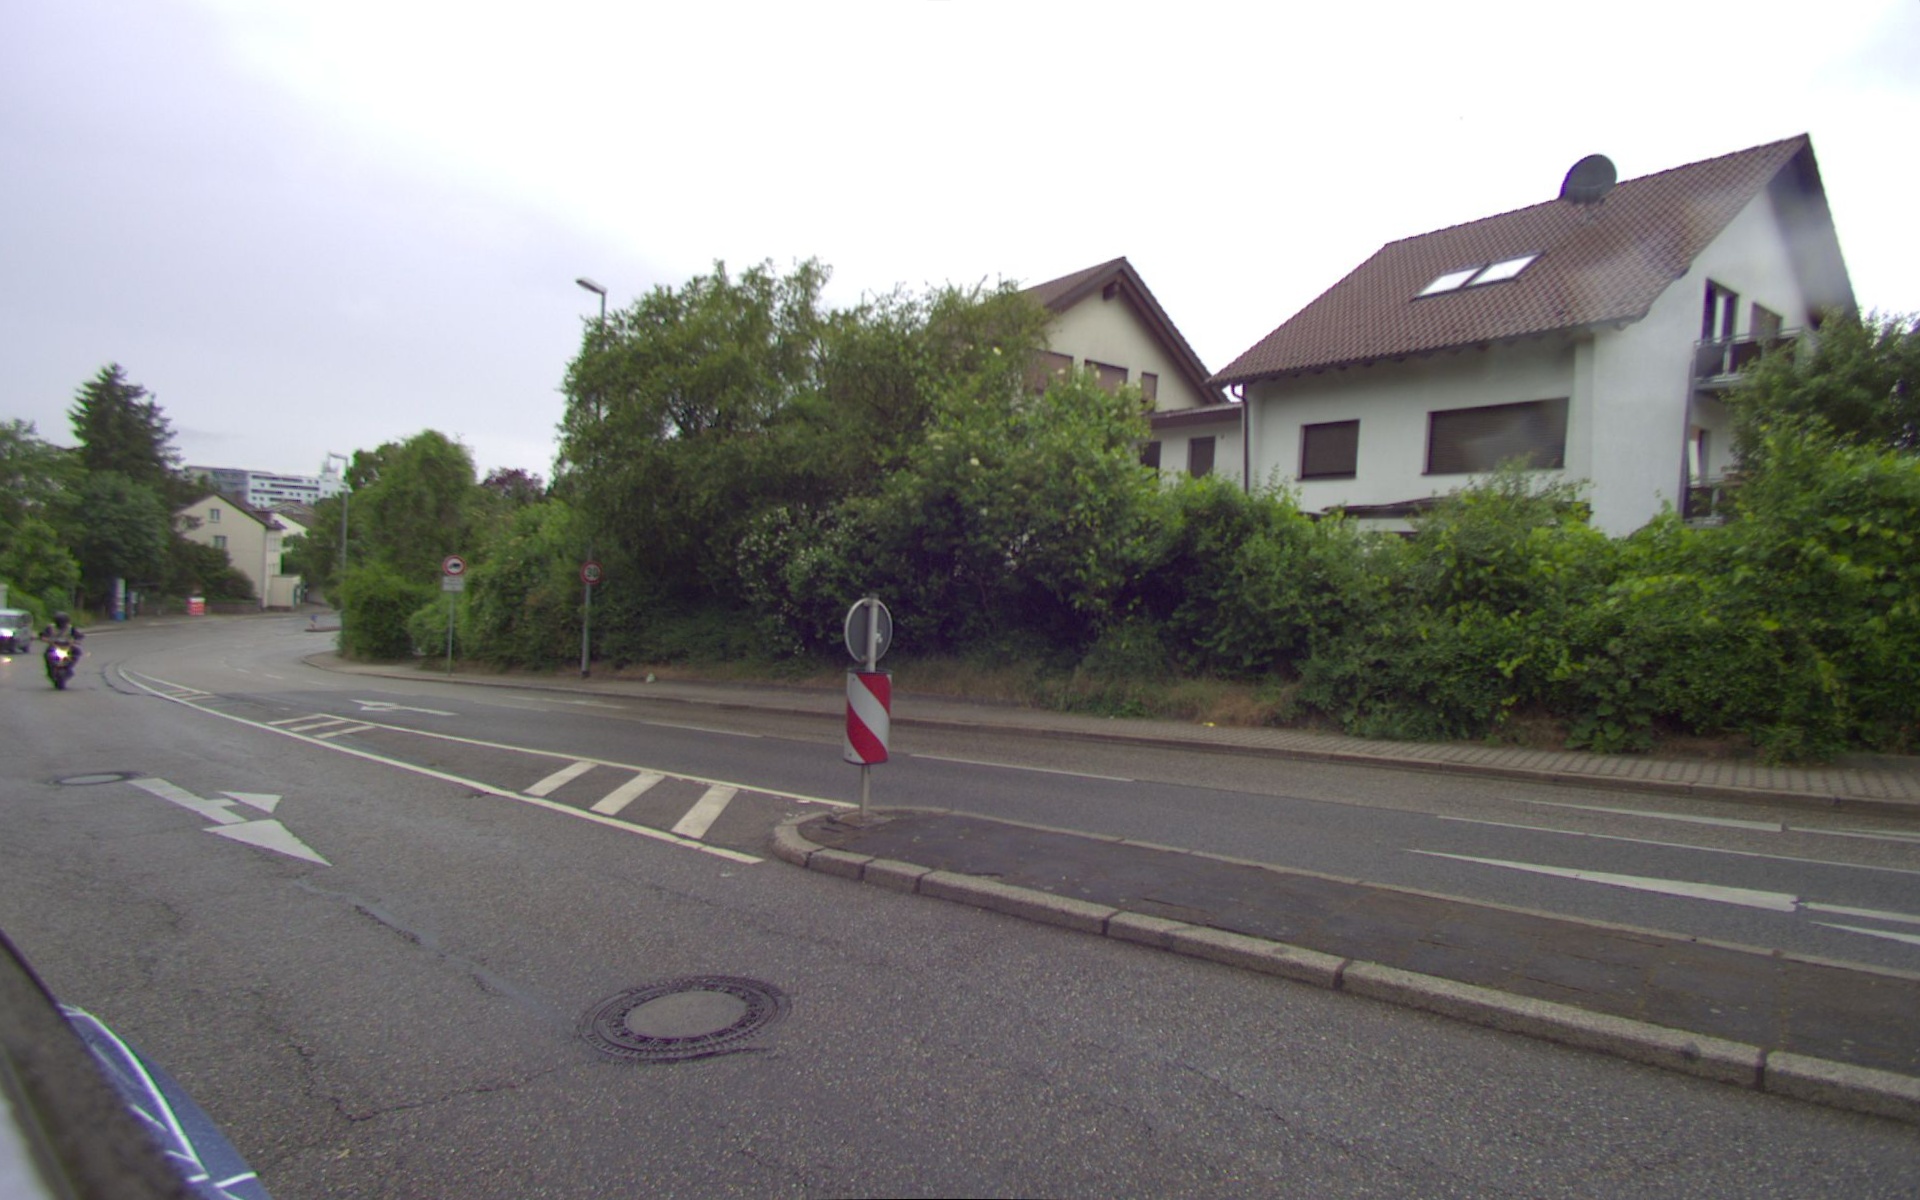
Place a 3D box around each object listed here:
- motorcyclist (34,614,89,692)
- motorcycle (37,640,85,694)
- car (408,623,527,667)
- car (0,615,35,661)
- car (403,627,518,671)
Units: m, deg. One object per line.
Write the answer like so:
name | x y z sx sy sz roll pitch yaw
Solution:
motorcyclist | -19.619 1.156 22.099 0.756 1.655 0.675 5 -4 -44
motorcycle | -19.687 1.460 22.139 0.682 1.061 1.749 6 -3 -43
car | -19.497 1.758 40.123 3.853 1.451 1.814 -3 1 -41
car | -40.155 1.530 42.036 1.749 1.788 4.011 6 -4 -33
car | -20.976 2.010 42.567 3.939 1.548 2.003 -3 1 -42
